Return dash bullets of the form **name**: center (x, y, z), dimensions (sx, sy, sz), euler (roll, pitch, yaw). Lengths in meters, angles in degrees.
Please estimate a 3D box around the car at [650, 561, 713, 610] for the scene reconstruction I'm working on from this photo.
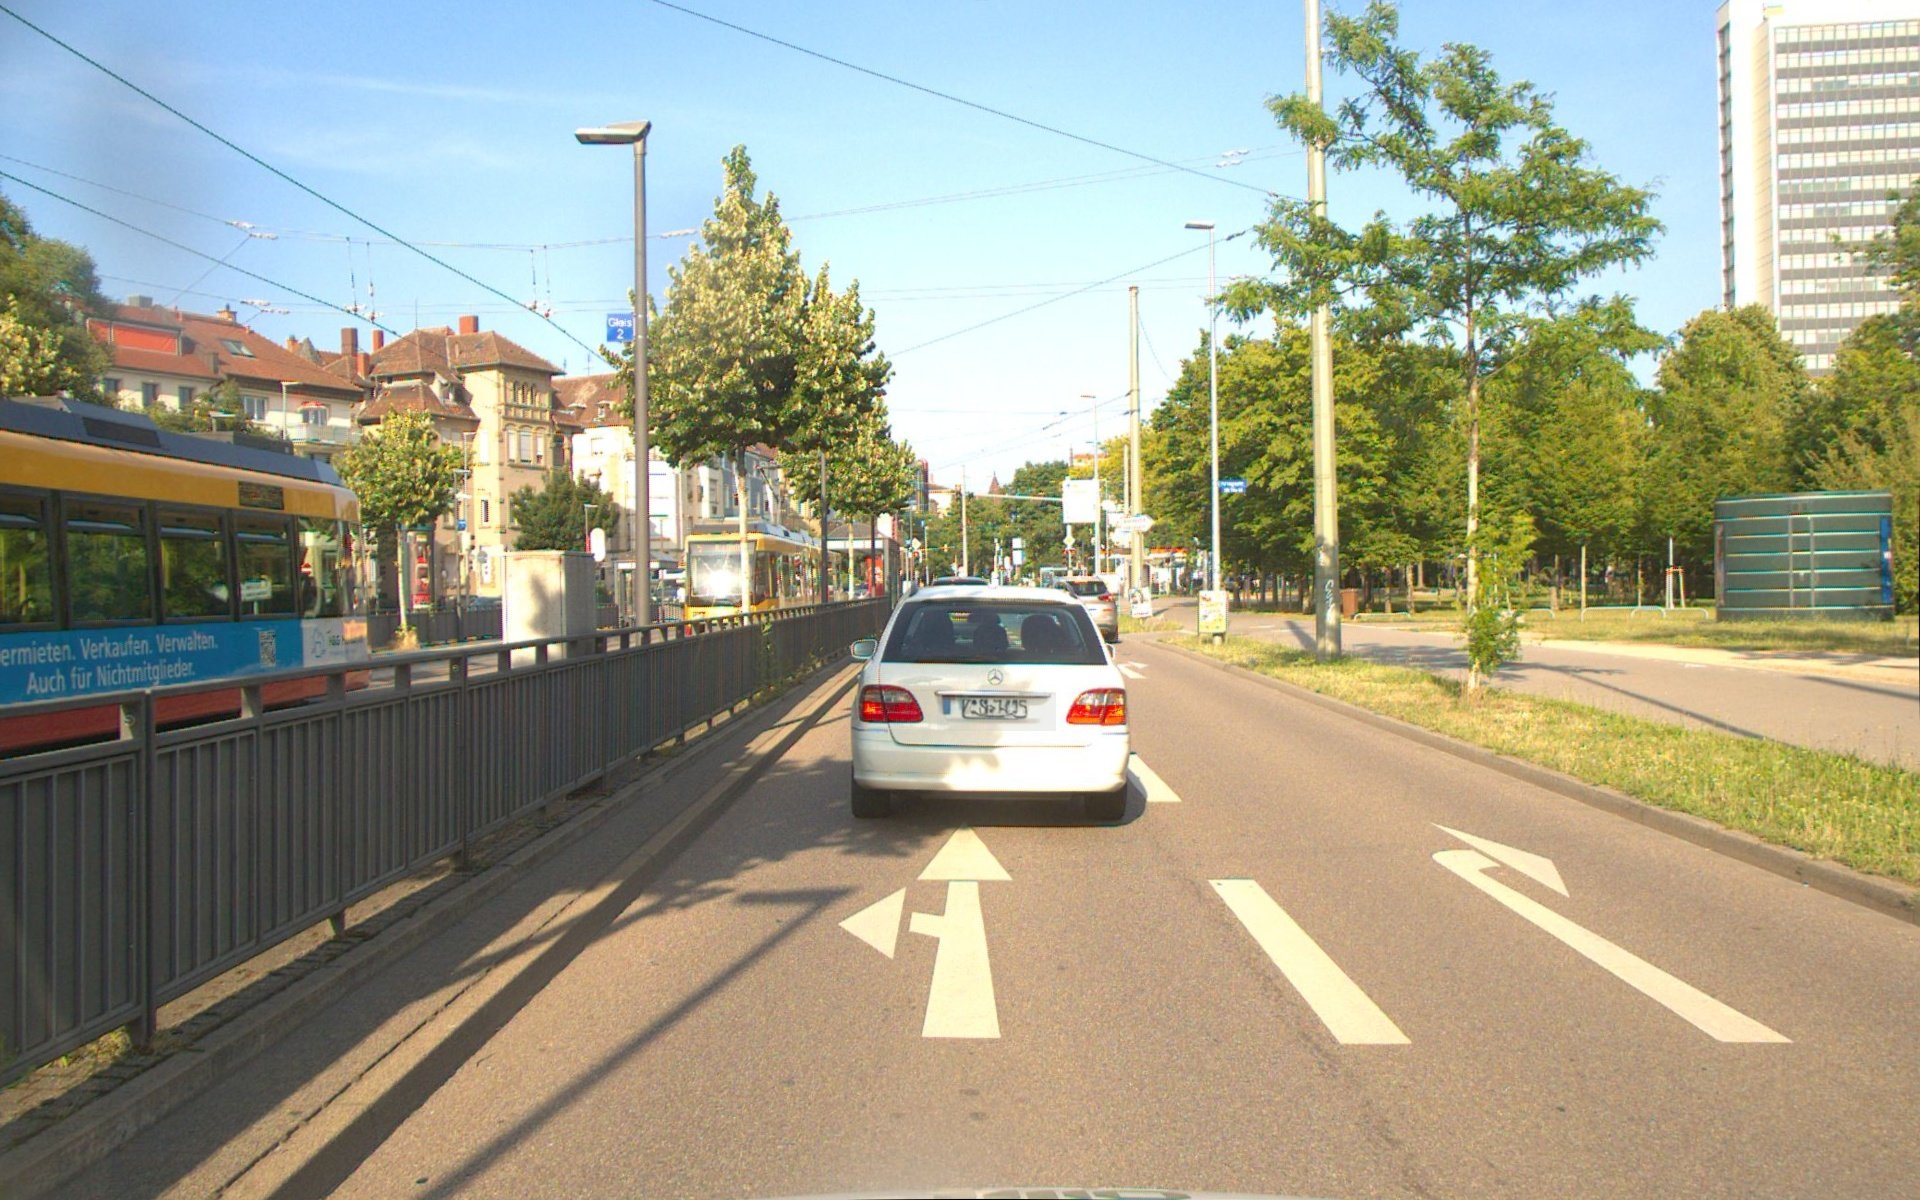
- **car**: center (-16.825, -0.906, 100.354), dimensions (2.543, 2.783, 7.468), euler (-1, 1, 0)

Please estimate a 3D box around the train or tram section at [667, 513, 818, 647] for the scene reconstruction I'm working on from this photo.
- **train or tram section**: center (-6.315, -0.659, 50.332), dimensions (2.791, 3.540, 13.201), euler (0, 1, 0)

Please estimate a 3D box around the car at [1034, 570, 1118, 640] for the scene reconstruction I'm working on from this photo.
- **car**: center (2.905, 0.092, 41.279), dimensions (1.990, 1.633, 4.002), euler (-1, 1, 4)

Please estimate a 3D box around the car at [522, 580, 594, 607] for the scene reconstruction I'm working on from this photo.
- **car**: center (-25.877, -0.406, 106.647), dimensions (2.159, 1.656, 4.715), euler (0, 1, 23)

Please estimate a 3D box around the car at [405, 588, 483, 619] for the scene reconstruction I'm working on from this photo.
- **car**: center (-30.394, 0.209, 97.430), dimensions (3.903, 1.780, 2.001), euler (0, 1, 18)

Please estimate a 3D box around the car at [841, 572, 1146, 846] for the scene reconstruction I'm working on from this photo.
- **car**: center (0.299, 0.675, 11.443), dimensions (1.721, 1.530, 4.001), euler (1, -2, 3)

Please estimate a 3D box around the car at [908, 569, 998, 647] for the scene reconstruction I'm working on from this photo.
- **car**: center (-0.111, 0.143, 38.502), dimensions (1.749, 1.719, 4.003), euler (0, 1, 4)

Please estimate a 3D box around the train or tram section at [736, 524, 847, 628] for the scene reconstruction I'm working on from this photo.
- **train or tram section**: center (-6.244, -0.924, 63.354), dimensions (2.791, 3.540, 13.201), euler (-1, 1, 0)

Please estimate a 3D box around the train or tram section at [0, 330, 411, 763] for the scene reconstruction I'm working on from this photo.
- **train or tram section**: center (-9.413, -0.472, 16.459), dimensions (3.097, 3.540, 14.472), euler (-1, 1, 0)

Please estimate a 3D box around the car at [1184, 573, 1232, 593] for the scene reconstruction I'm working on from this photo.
- **car**: center (22.531, -1.549, 150.386), dimensions (3.908, 1.680, 1.999), euler (-1, 0, 26)
